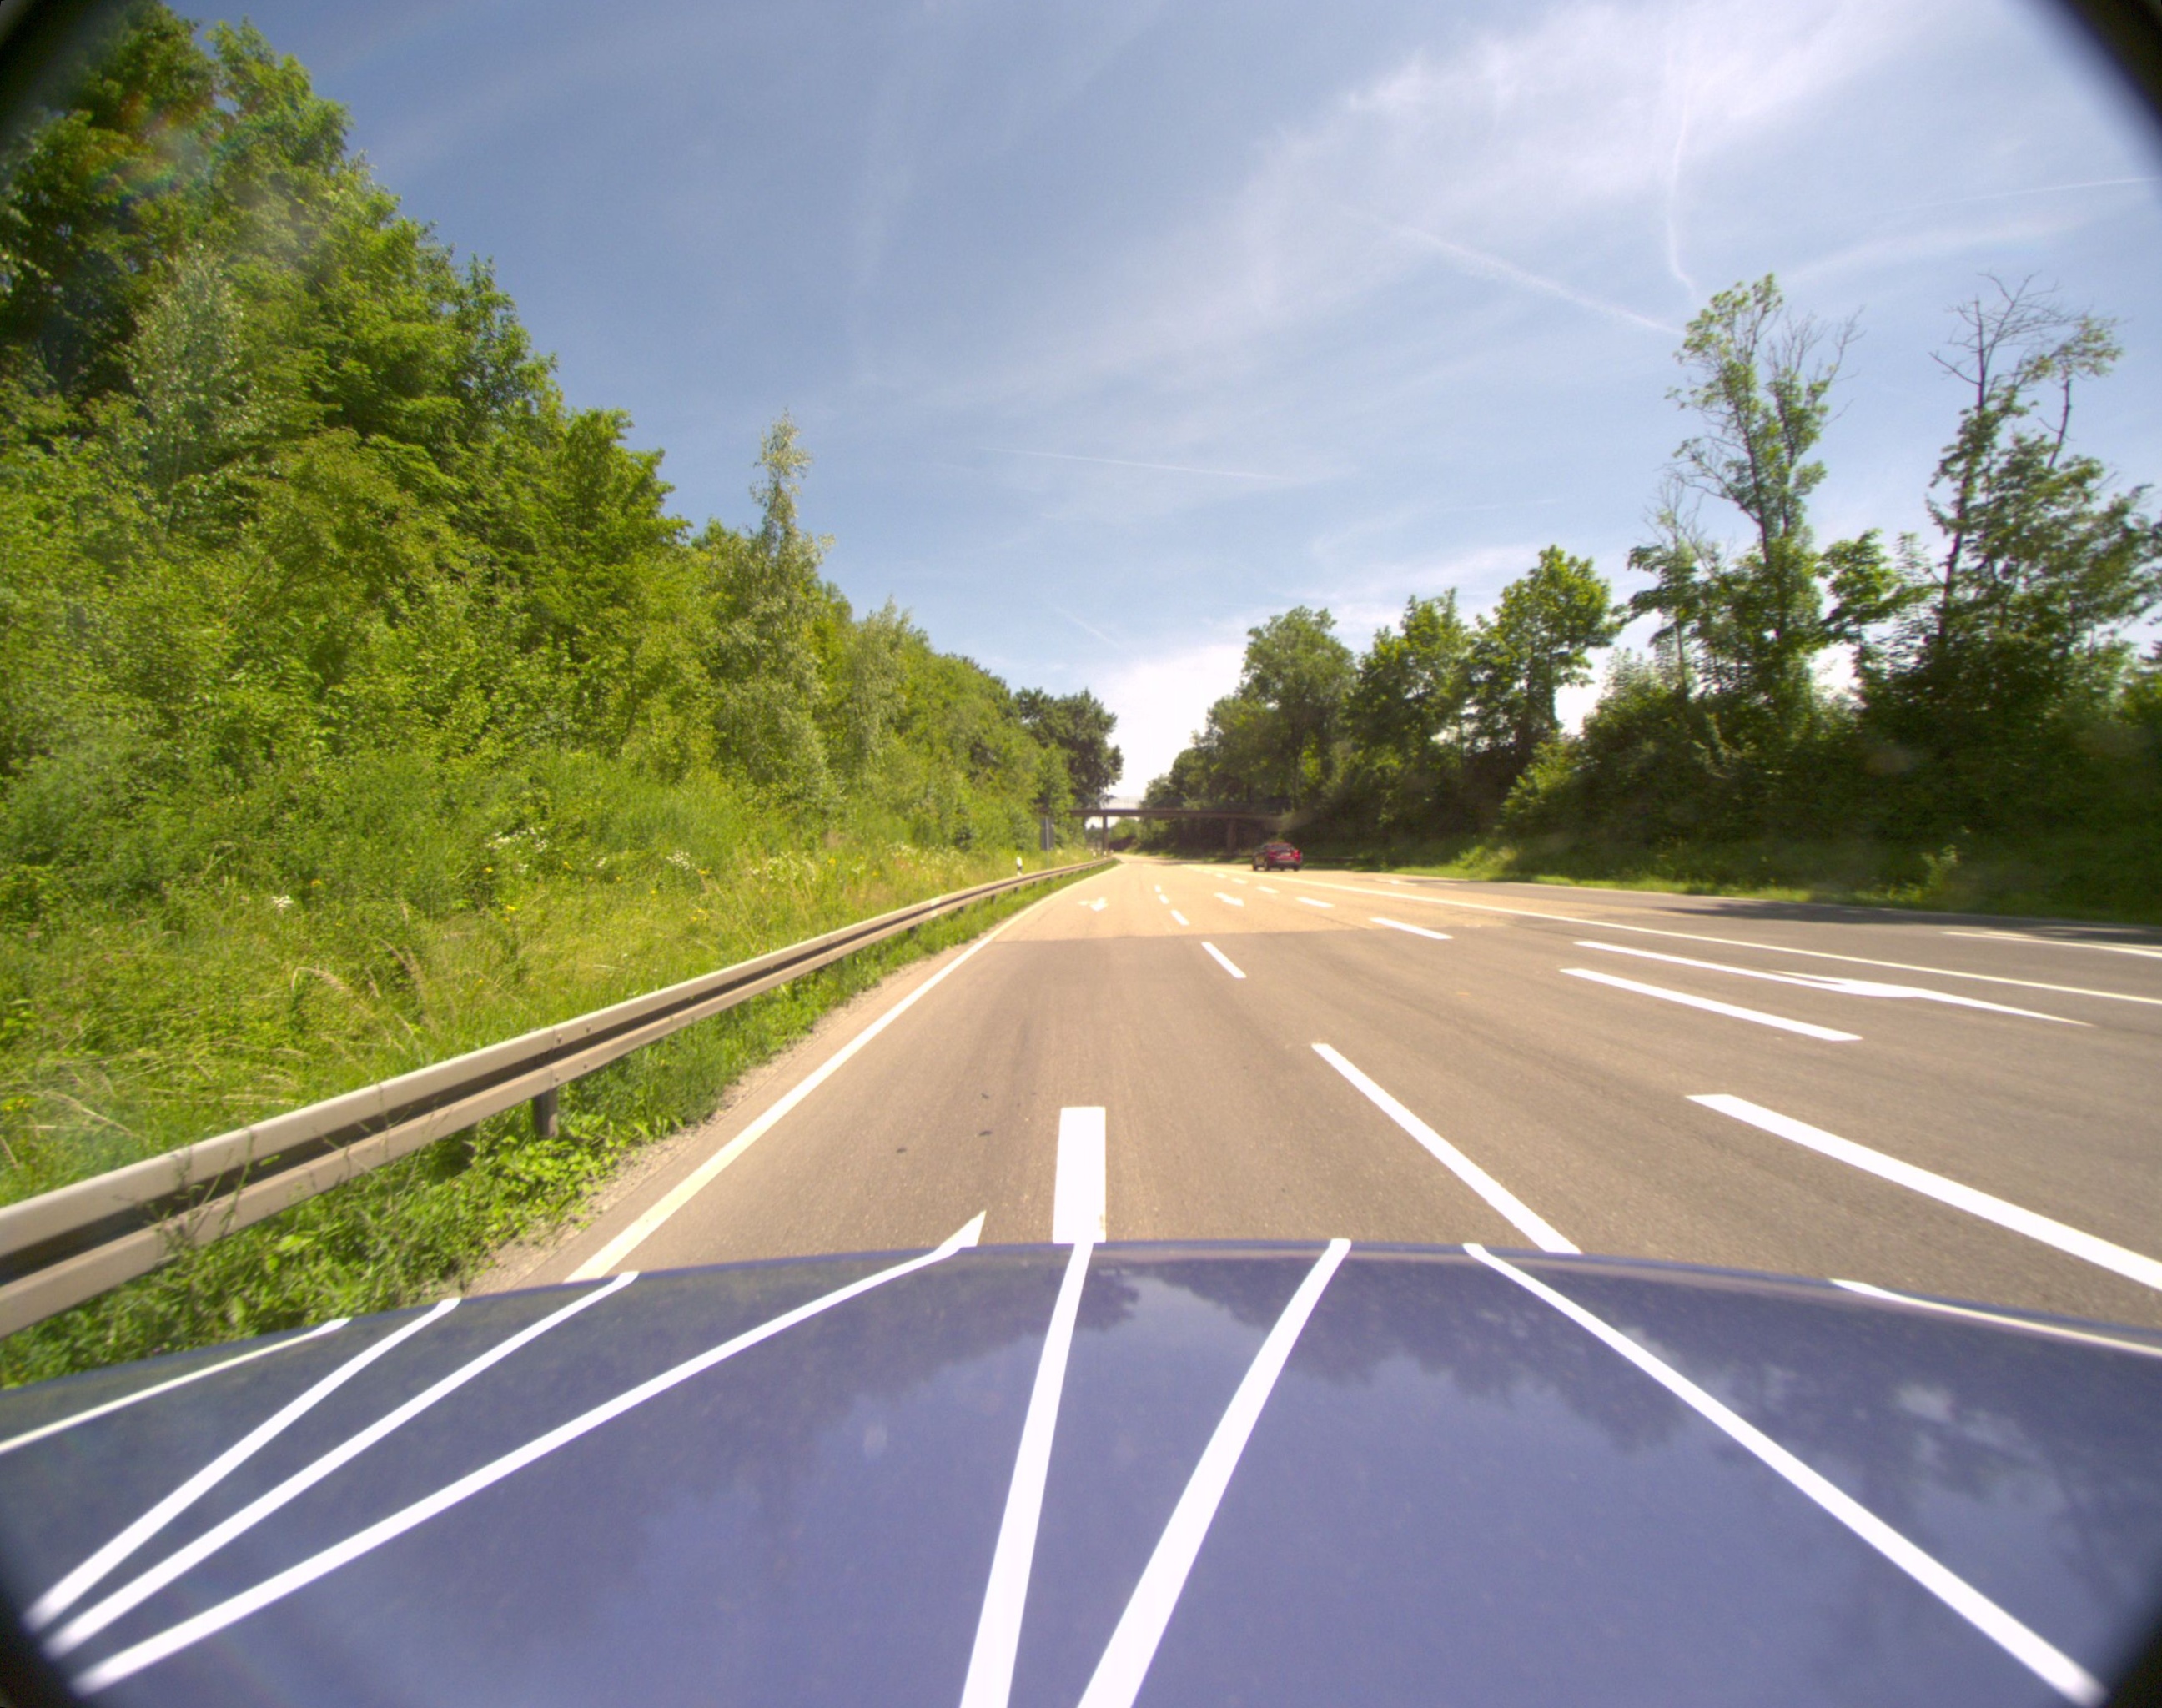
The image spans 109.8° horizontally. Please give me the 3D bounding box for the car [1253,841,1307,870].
[{"bbox_3d":[10.838,0.056,41.661,1.908,1.500,3.764,-1,1,0],"label":"car"}]
